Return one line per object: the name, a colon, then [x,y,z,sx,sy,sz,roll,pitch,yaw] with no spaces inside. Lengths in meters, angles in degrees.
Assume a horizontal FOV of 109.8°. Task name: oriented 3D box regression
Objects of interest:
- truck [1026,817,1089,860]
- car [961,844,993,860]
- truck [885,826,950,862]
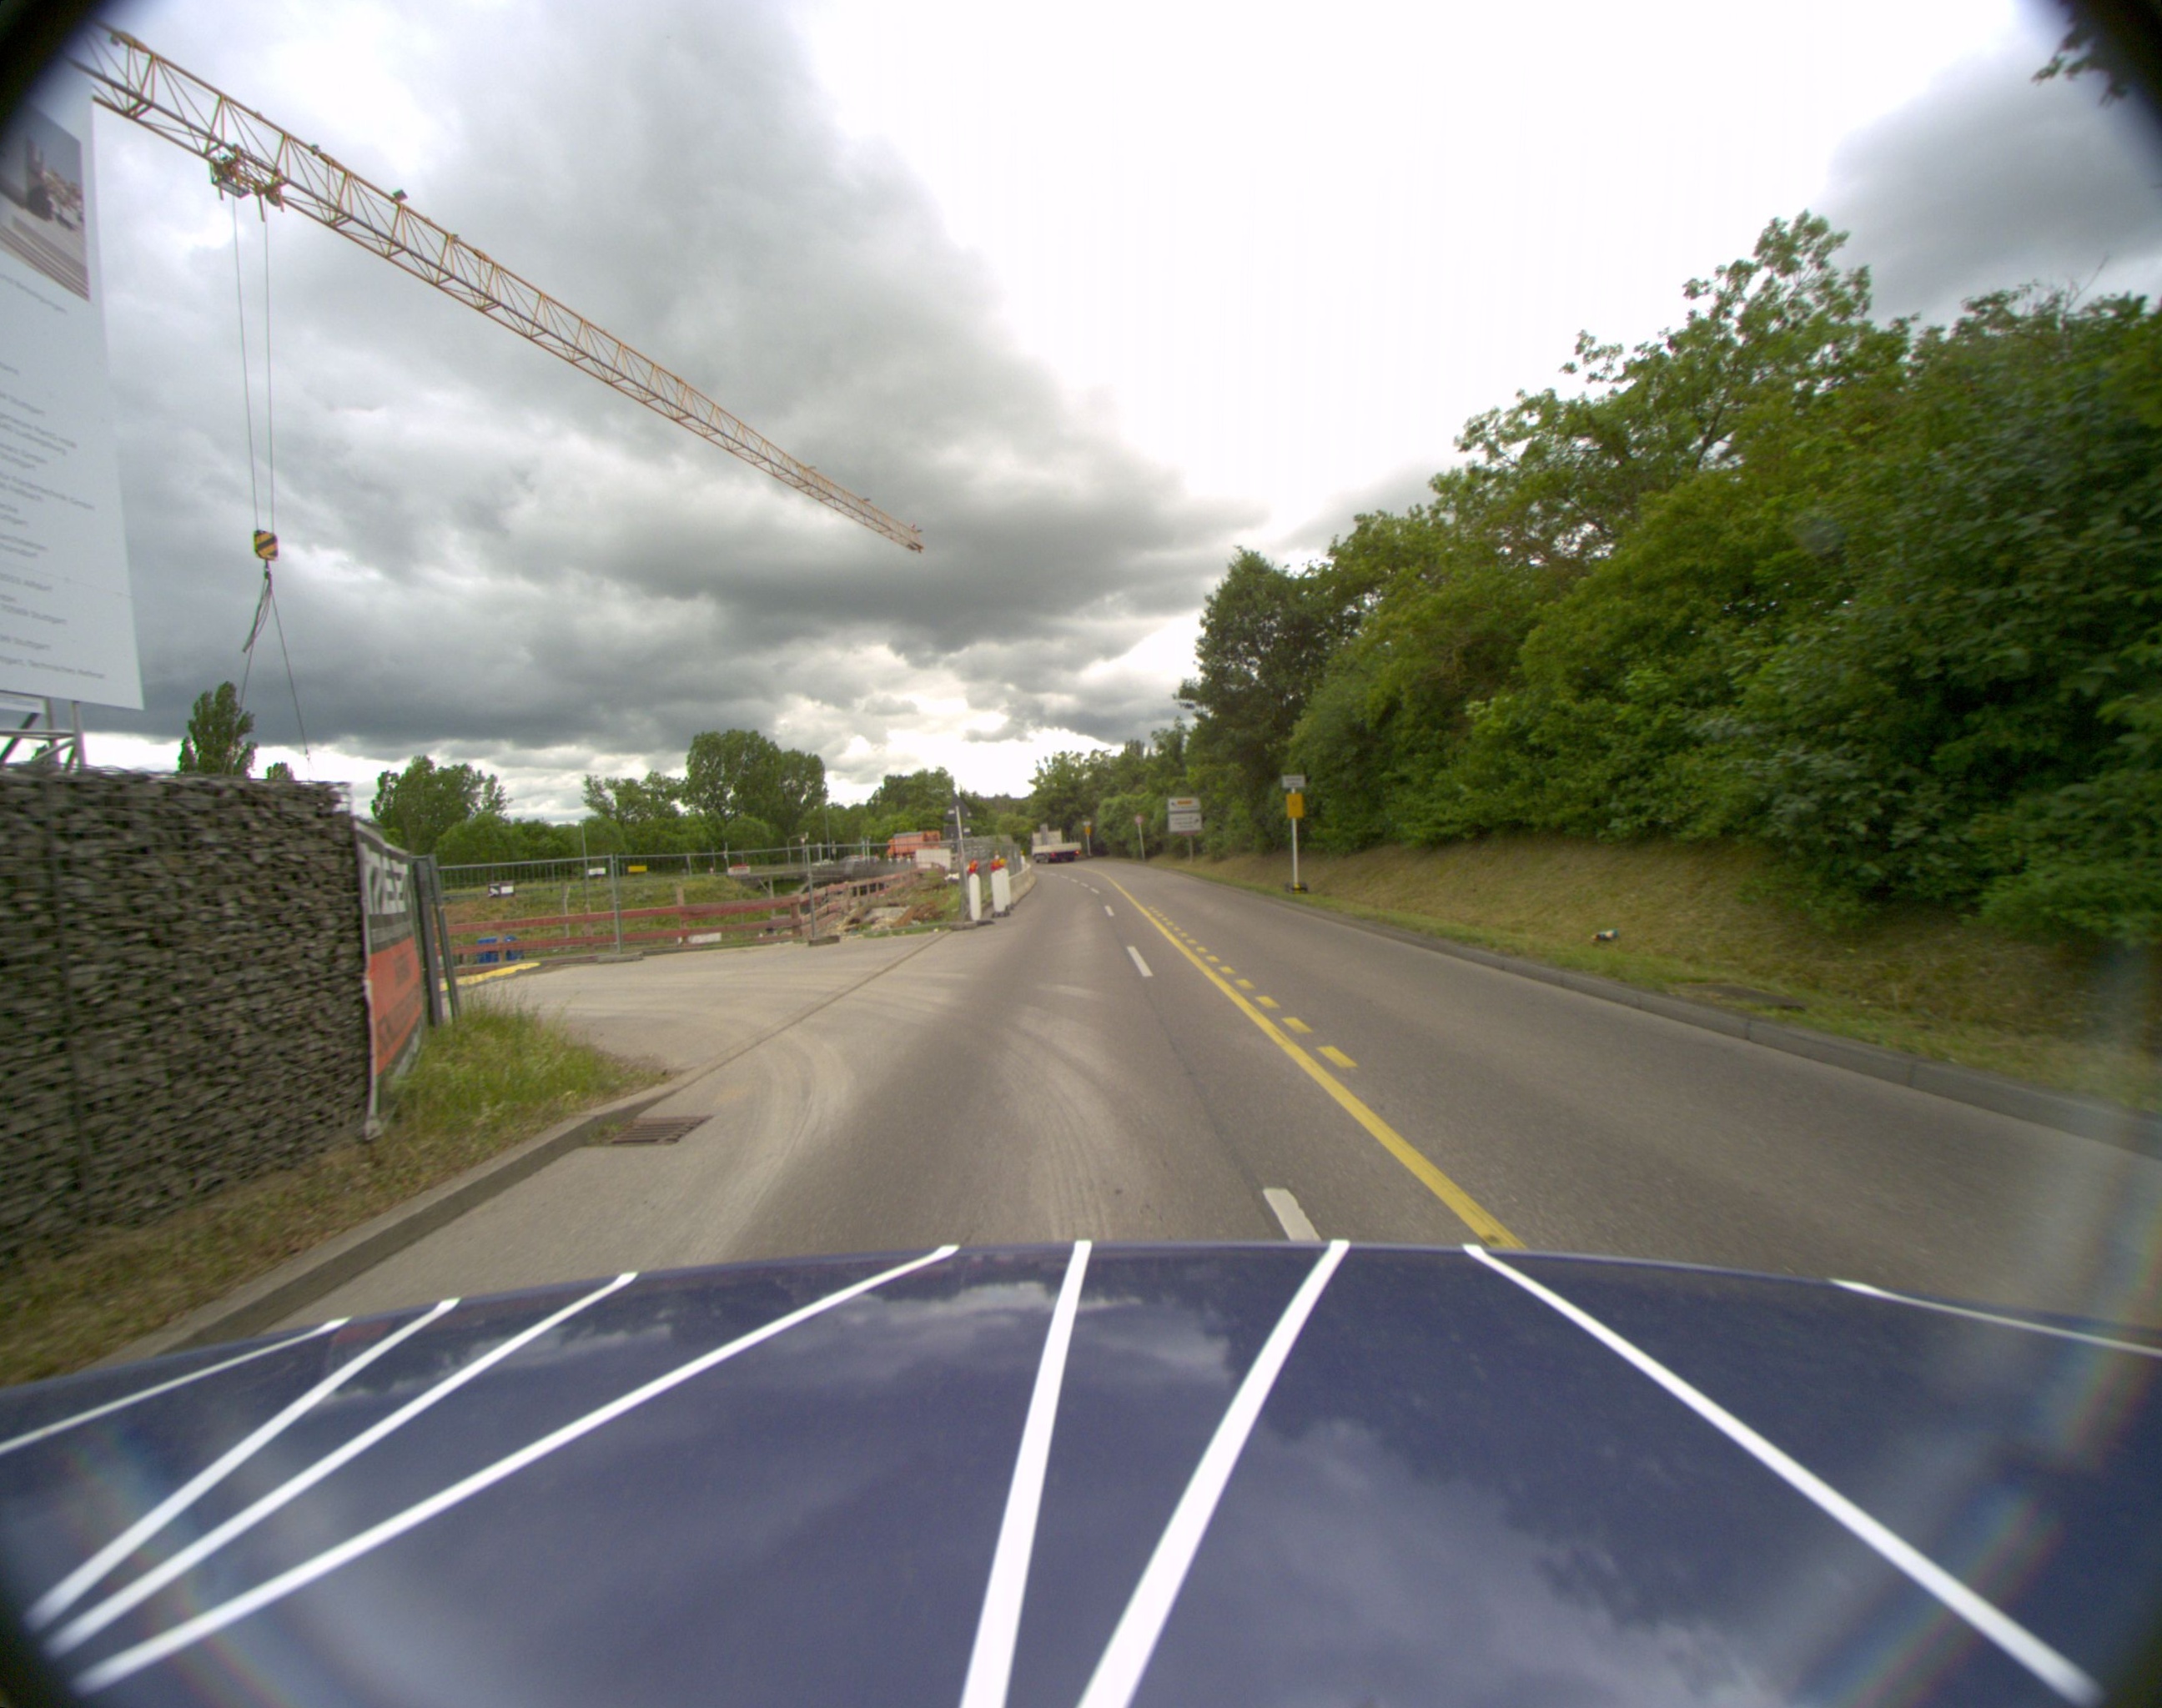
truck: [-2.109,-1.246,64.183,2.762,3.240,7.597,-5,2,-21]
car: [-11.506,-0.251,83.758,1.897,1.554,4.091,-6,2,-31]
truck: [-20.614,-1.219,95.108,3.046,3.876,9.976,-6,3,-42]
